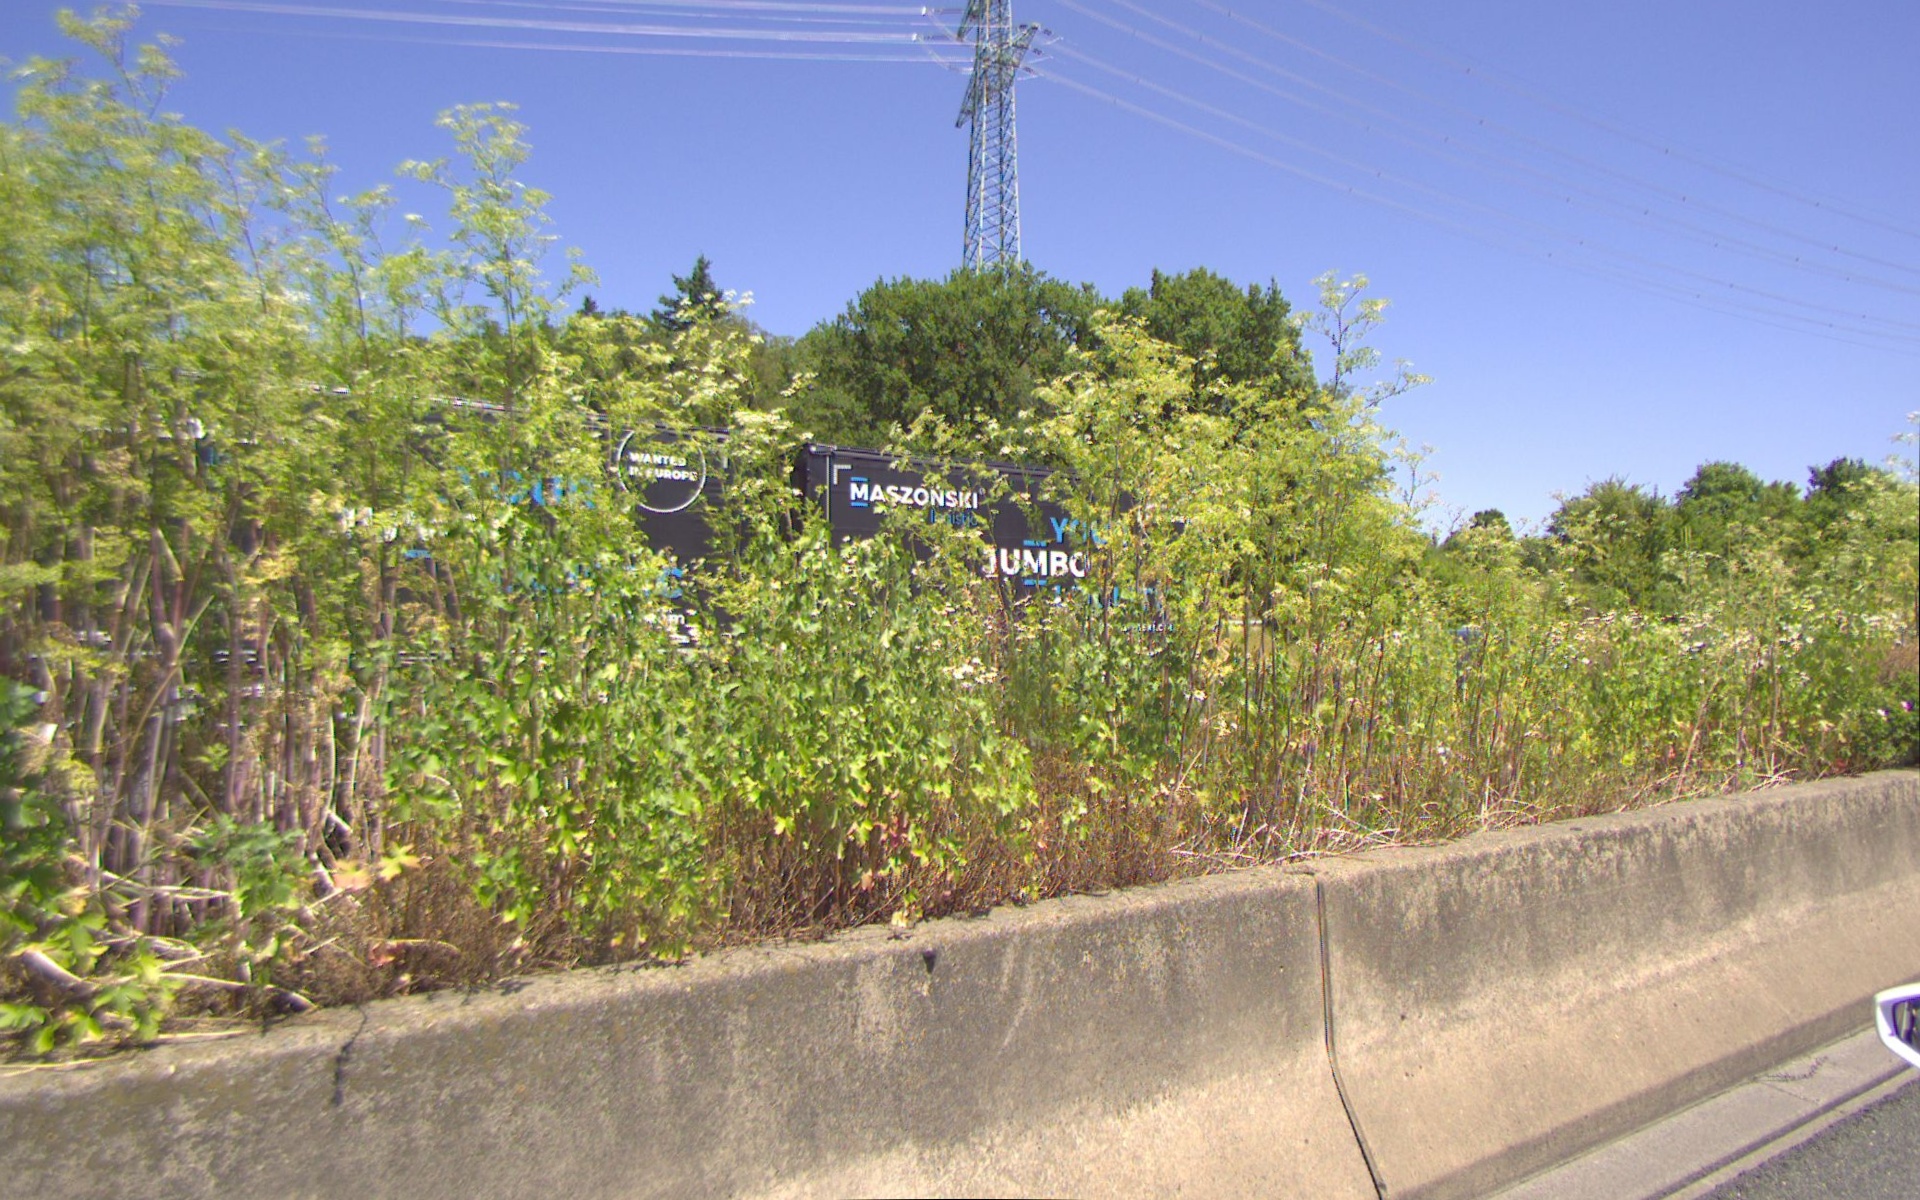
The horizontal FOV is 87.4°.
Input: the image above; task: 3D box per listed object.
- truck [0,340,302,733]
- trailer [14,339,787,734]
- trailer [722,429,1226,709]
[{"bbox_3d":[-10.374,-0.606,10.674,5.399,3.759,3.057,1,-1,-30],"label":"truck"},{"bbox_3d":[-6.489,-0.509,13.020,7.777,3.809,3.110,2,-1,-30],"label":"trailer"},{"bbox_3d":[0.411,-0.310,17.087,8.104,3.811,3.168,1,-1,-30],"label":"trailer"}]
